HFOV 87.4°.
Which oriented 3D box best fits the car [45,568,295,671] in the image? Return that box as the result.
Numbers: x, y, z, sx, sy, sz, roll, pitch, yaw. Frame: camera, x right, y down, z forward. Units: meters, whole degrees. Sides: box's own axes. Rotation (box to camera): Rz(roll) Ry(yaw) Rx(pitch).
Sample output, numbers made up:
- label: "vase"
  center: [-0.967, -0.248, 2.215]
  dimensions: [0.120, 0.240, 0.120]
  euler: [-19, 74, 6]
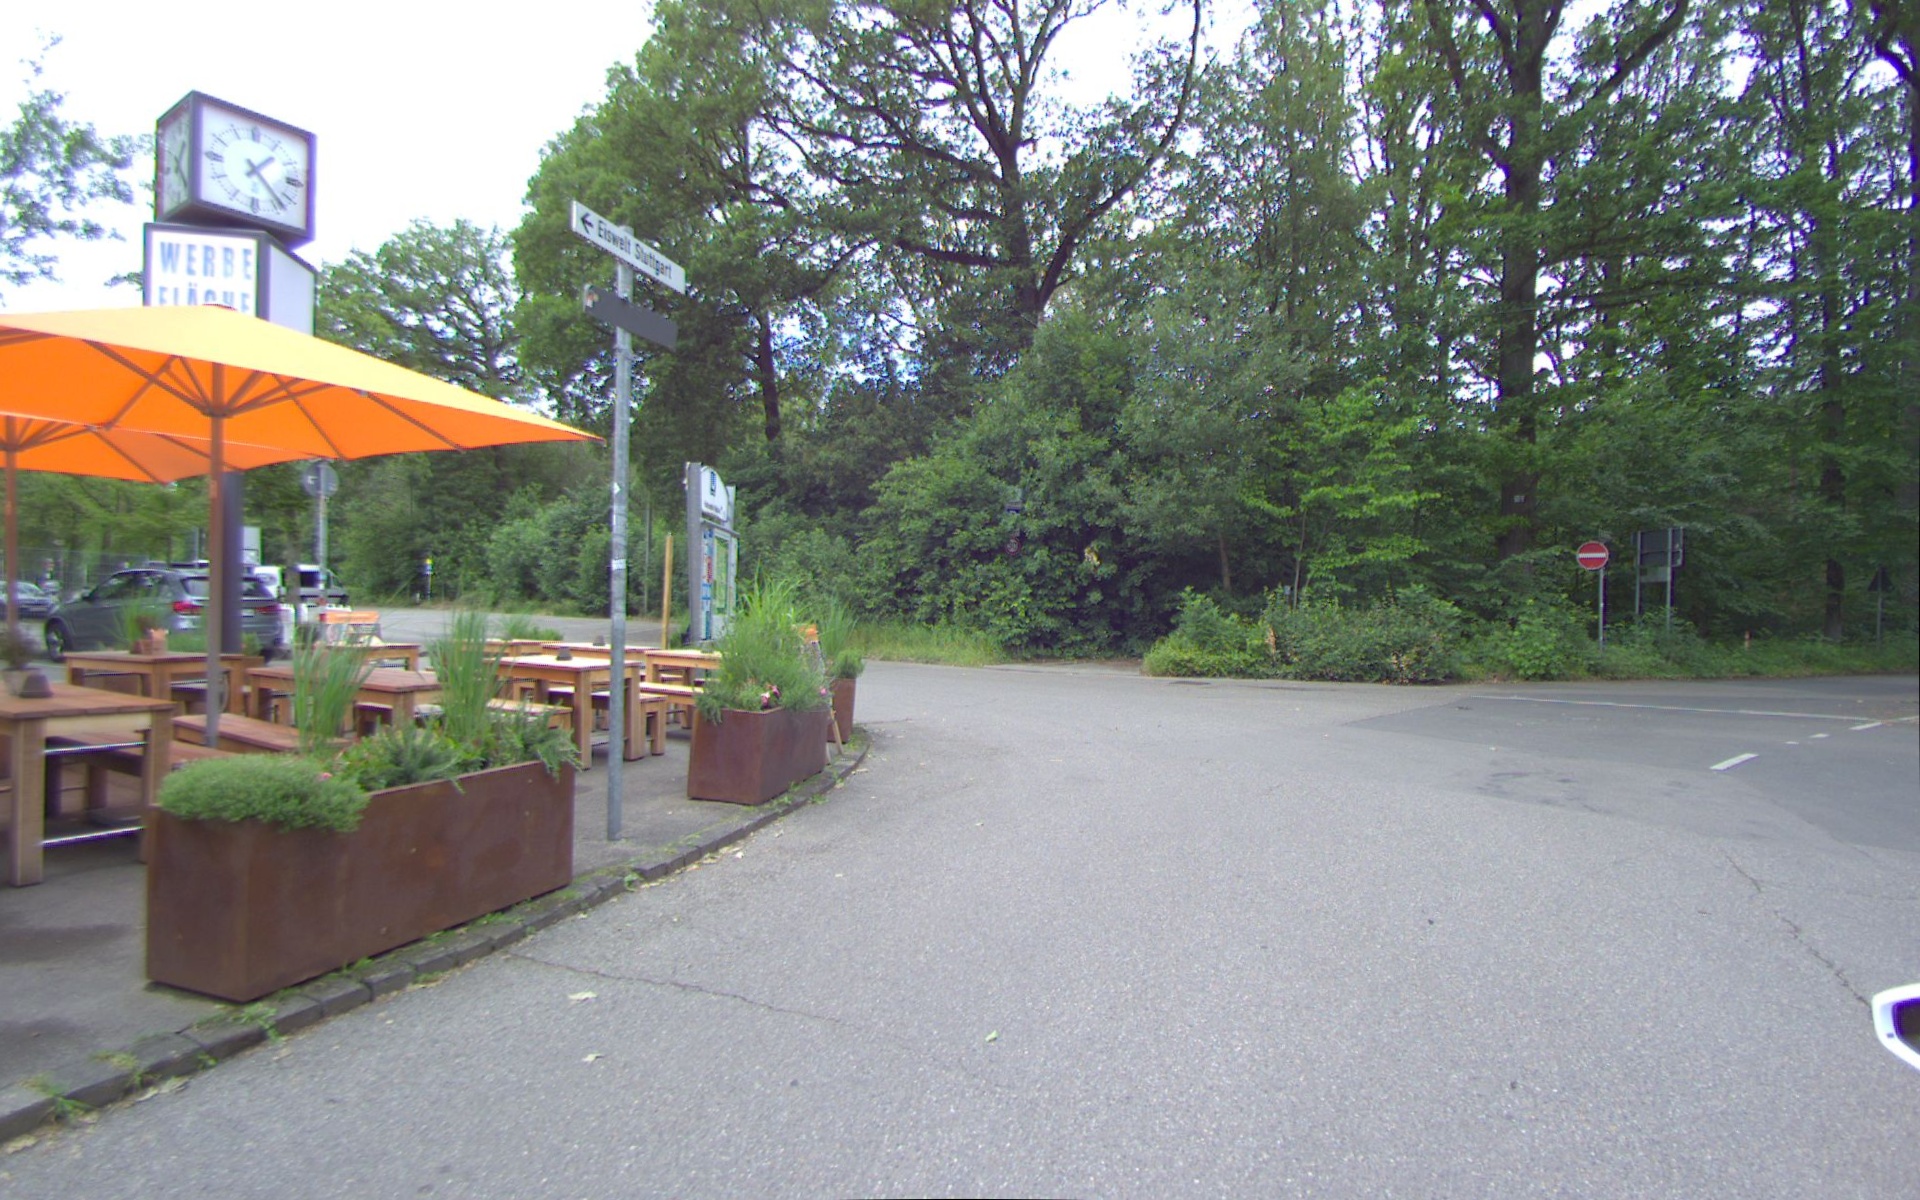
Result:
- label: "car"
  center: [-14.456, 0.300, 18.369]
  dimensions: [4.264, 1.692, 1.934]
  euler: [1, 0, 26]

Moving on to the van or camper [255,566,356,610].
- label: "van or camper"
  center: [-45.623, -0.835, 70.278]
  dimensions: [2.027, 2.887, 7.341]
  euler: [1, 1, 2]
